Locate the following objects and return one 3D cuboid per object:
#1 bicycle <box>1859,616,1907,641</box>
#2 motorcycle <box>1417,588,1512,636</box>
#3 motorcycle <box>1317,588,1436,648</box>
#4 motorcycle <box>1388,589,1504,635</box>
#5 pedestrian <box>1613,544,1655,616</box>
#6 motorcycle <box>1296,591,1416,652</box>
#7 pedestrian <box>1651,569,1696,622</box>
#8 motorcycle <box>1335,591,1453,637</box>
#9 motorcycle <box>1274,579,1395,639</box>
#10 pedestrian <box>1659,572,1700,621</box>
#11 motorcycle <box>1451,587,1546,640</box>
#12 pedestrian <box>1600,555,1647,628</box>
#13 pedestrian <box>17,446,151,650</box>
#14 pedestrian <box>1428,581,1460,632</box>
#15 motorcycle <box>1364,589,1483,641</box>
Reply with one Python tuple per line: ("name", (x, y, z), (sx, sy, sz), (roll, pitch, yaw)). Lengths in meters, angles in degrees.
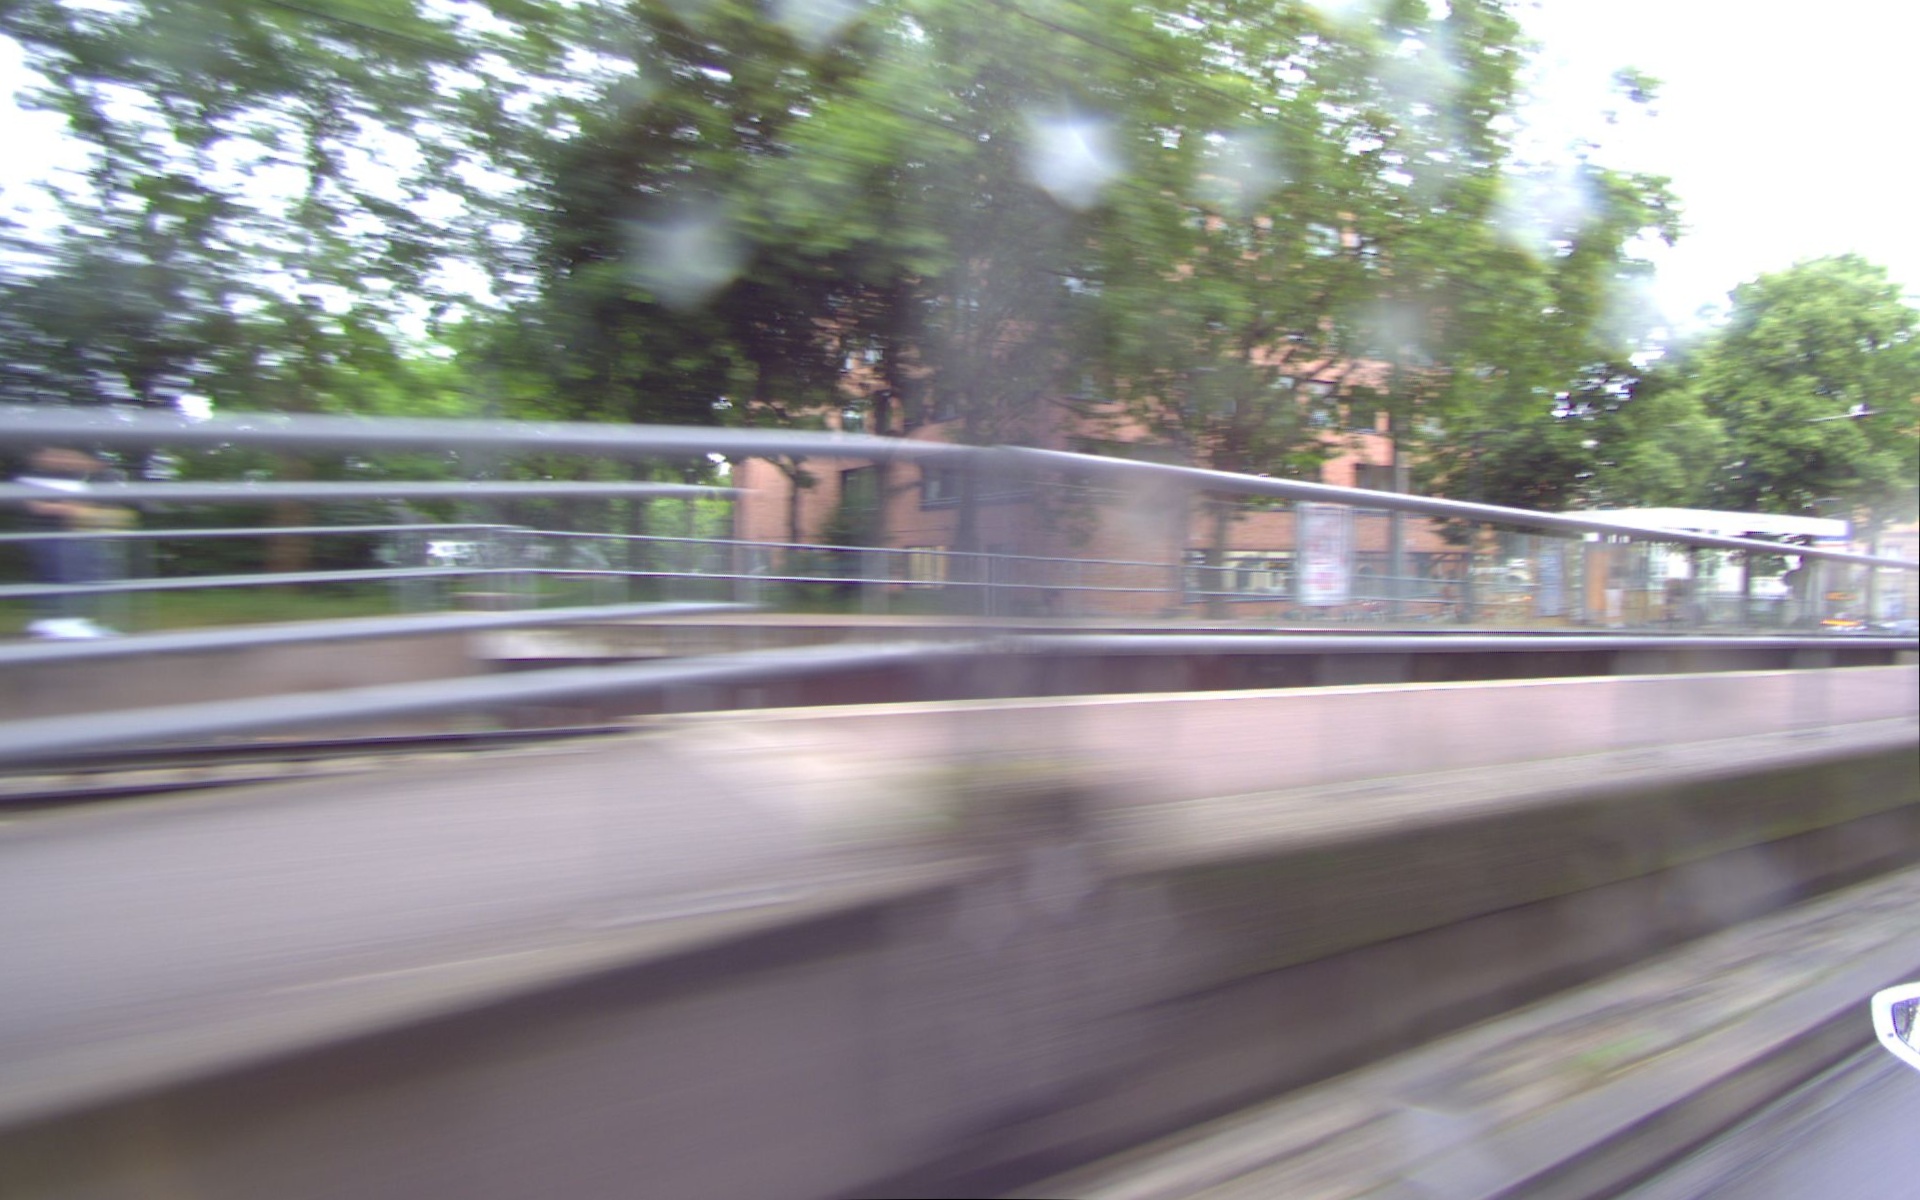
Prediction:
("bicycle", (50.001, 1.529, 54.412), (0.514, 1.211, 1.853), (0, 2, -42))
("motorcycle", (18.747, 0.427, 37.401), (0.995, 1.649, 3.040), (1, 2, -33))
("motorcycle", (14.254, 0.582, 34.564), (0.995, 1.840, 3.841), (1, 2, -33))
("motorcycle", (17.744, 0.405, 36.861), (0.995, 1.508, 3.841), (1, 2, -33))
("pedestrian", (16.553, -0.493, 24.670), (0.698, 1.738, 0.559), (0, 3, -34))
("motorcycle", (13.298, 0.680, 33.949), (0.995, 1.840, 3.841), (1, 2, -33))
("pedestrian", (18.827, -0.126, 26.498), (0.558, 1.381, 0.772), (0, 3, -34))
("motorcycle", (15.089, 0.452, 35.121), (0.995, 1.426, 3.841), (1, 2, -33))
("motorcycle", (12.261, 0.247, 33.111), (0.995, 1.798, 3.841), (1, 2, -33))
("pedestrian", (19.325, -0.100, 26.980), (0.558, 1.257, 0.699), (0, 3, -34))
("motorcycle", (20.368, 0.491, 38.086), (0.983, 1.840, 3.018), (1, 2, -33))
("pedestrian", (15.527, -0.199, 23.517), (0.558, 1.663, 0.682), (0, 3, -34))
("pedestrian", (-7.619, -0.460, 8.773), (0.680, 1.686, 0.654), (-4, 5, -32))
("pedestrian", (19.862, 0.252, 41.224), (0.968, 2.041, 0.729), (1, 1, -29))
("motorcycle", (16.274, 0.494, 35.468), (0.995, 1.627, 3.841), (1, 2, -33))
